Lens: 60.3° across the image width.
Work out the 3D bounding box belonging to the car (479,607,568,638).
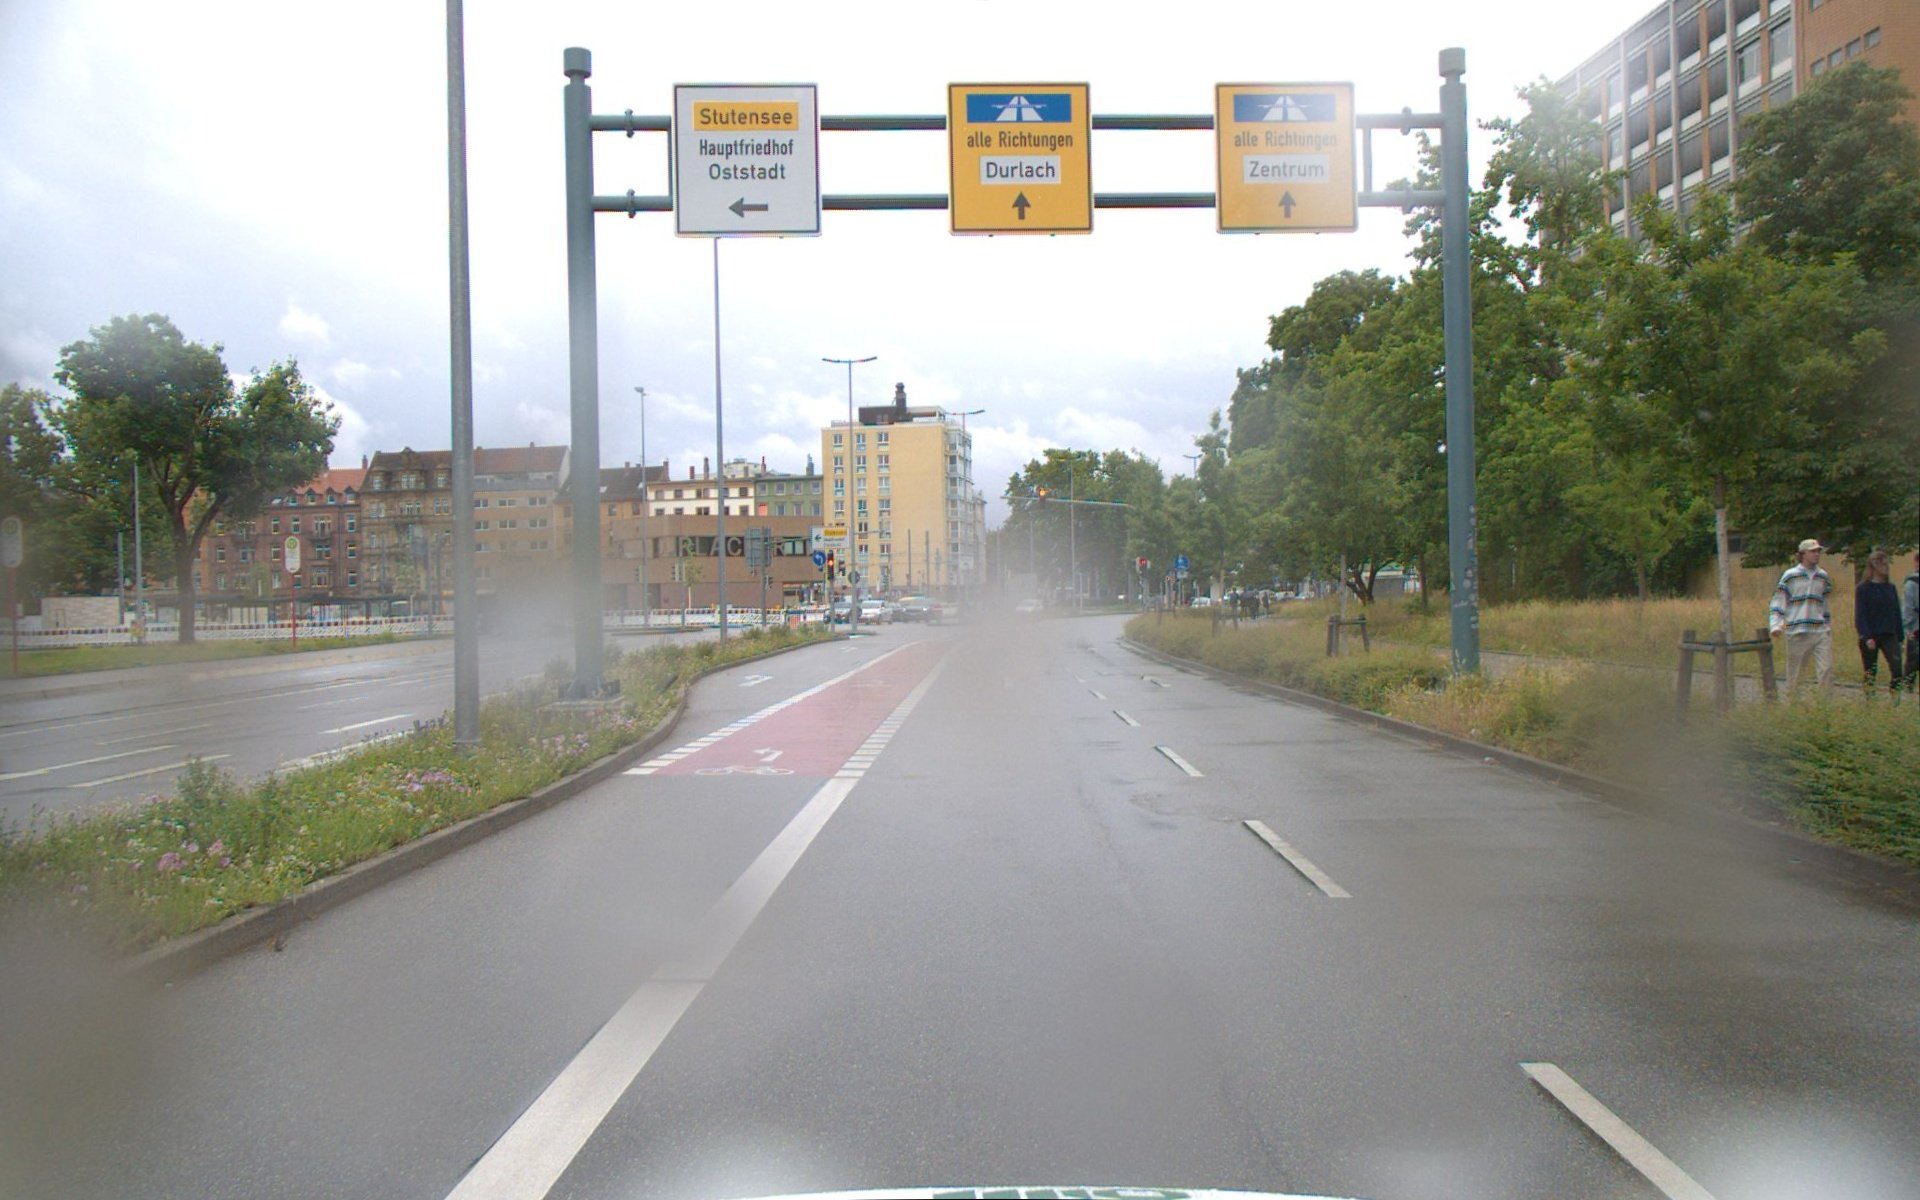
[{"bbox_3d":[-22.315,1.150,84.571,4.108,1.427,1.617,-1,0,-3],"label":"car"}]

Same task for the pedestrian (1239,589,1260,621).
[{"bbox_3d":[15.024,0.238,85.857,1.000,1.616,0.937,-1,0,13],"label":"pedestrian"}]

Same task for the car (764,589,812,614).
[{"bbox_3d":[-20.796,0.176,200.012,5.237,2.938,2.341,-2,0,6],"label":"car"}]

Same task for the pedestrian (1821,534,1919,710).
[{"bbox_3d":[9.430,0.205,16.828,0.913,1.733,0.829,0,3,4],"label":"pedestrian"}]

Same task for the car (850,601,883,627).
[{"bbox_3d":[-5.733,0.849,101.999,1.644,1.429,4.159,-2,0,1],"label":"car"}]

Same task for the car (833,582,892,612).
[{"bbox_3d":[-11.677,-0.377,198.857,6.598,3.439,2.811,-2,0,6],"label":"car"}]

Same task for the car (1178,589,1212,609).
[{"bbox_3d":[20.208,-0.094,142.270,1.754,1.672,4.157,-1,0,25],"label":"car"}]

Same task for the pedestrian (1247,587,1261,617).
[{"bbox_3d":[16.086,0.109,90.572,0.688,1.616,0.937,-1,0,13],"label":"pedestrian"}]

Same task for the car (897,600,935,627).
[{"bbox_3d":[-2.971,0.925,112.589,1.951,1.664,4.606,-3,0,6],"label":"car"}]

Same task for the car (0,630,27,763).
[{"bbox_3d":[-12.390,1.207,17.809,1.771,1.567,4.705,-3,0,3],"label":"car"}]

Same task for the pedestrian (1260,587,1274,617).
[{"bbox_3d":[16.785,0.091,90.377,0.688,1.616,0.937,-1,0,13],"label":"pedestrian"}]

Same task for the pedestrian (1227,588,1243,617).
[{"bbox_3d":[15.134,0.131,91.000,0.737,1.616,0.937,-1,0,13],"label":"pedestrian"}]

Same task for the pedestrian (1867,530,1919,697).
[{"bbox_3d":[10.886,0.137,18.592,0.913,1.828,0.829,-2,0,6],"label":"pedestrian"}]

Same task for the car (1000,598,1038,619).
[{"bbox_3d":[4.688,0.658,130.540,1.645,1.527,3.867,-2,0,23],"label":"car"}]

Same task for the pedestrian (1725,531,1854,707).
[{"bbox_3d":[8.488,0.179,16.968,0.913,1.750,0.829,0,3,4],"label":"pedestrian"}]

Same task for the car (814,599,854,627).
[{"bbox_3d":[-8.291,0.854,109.196,1.669,1.735,3.823,-1,0,10],"label":"car"}]
